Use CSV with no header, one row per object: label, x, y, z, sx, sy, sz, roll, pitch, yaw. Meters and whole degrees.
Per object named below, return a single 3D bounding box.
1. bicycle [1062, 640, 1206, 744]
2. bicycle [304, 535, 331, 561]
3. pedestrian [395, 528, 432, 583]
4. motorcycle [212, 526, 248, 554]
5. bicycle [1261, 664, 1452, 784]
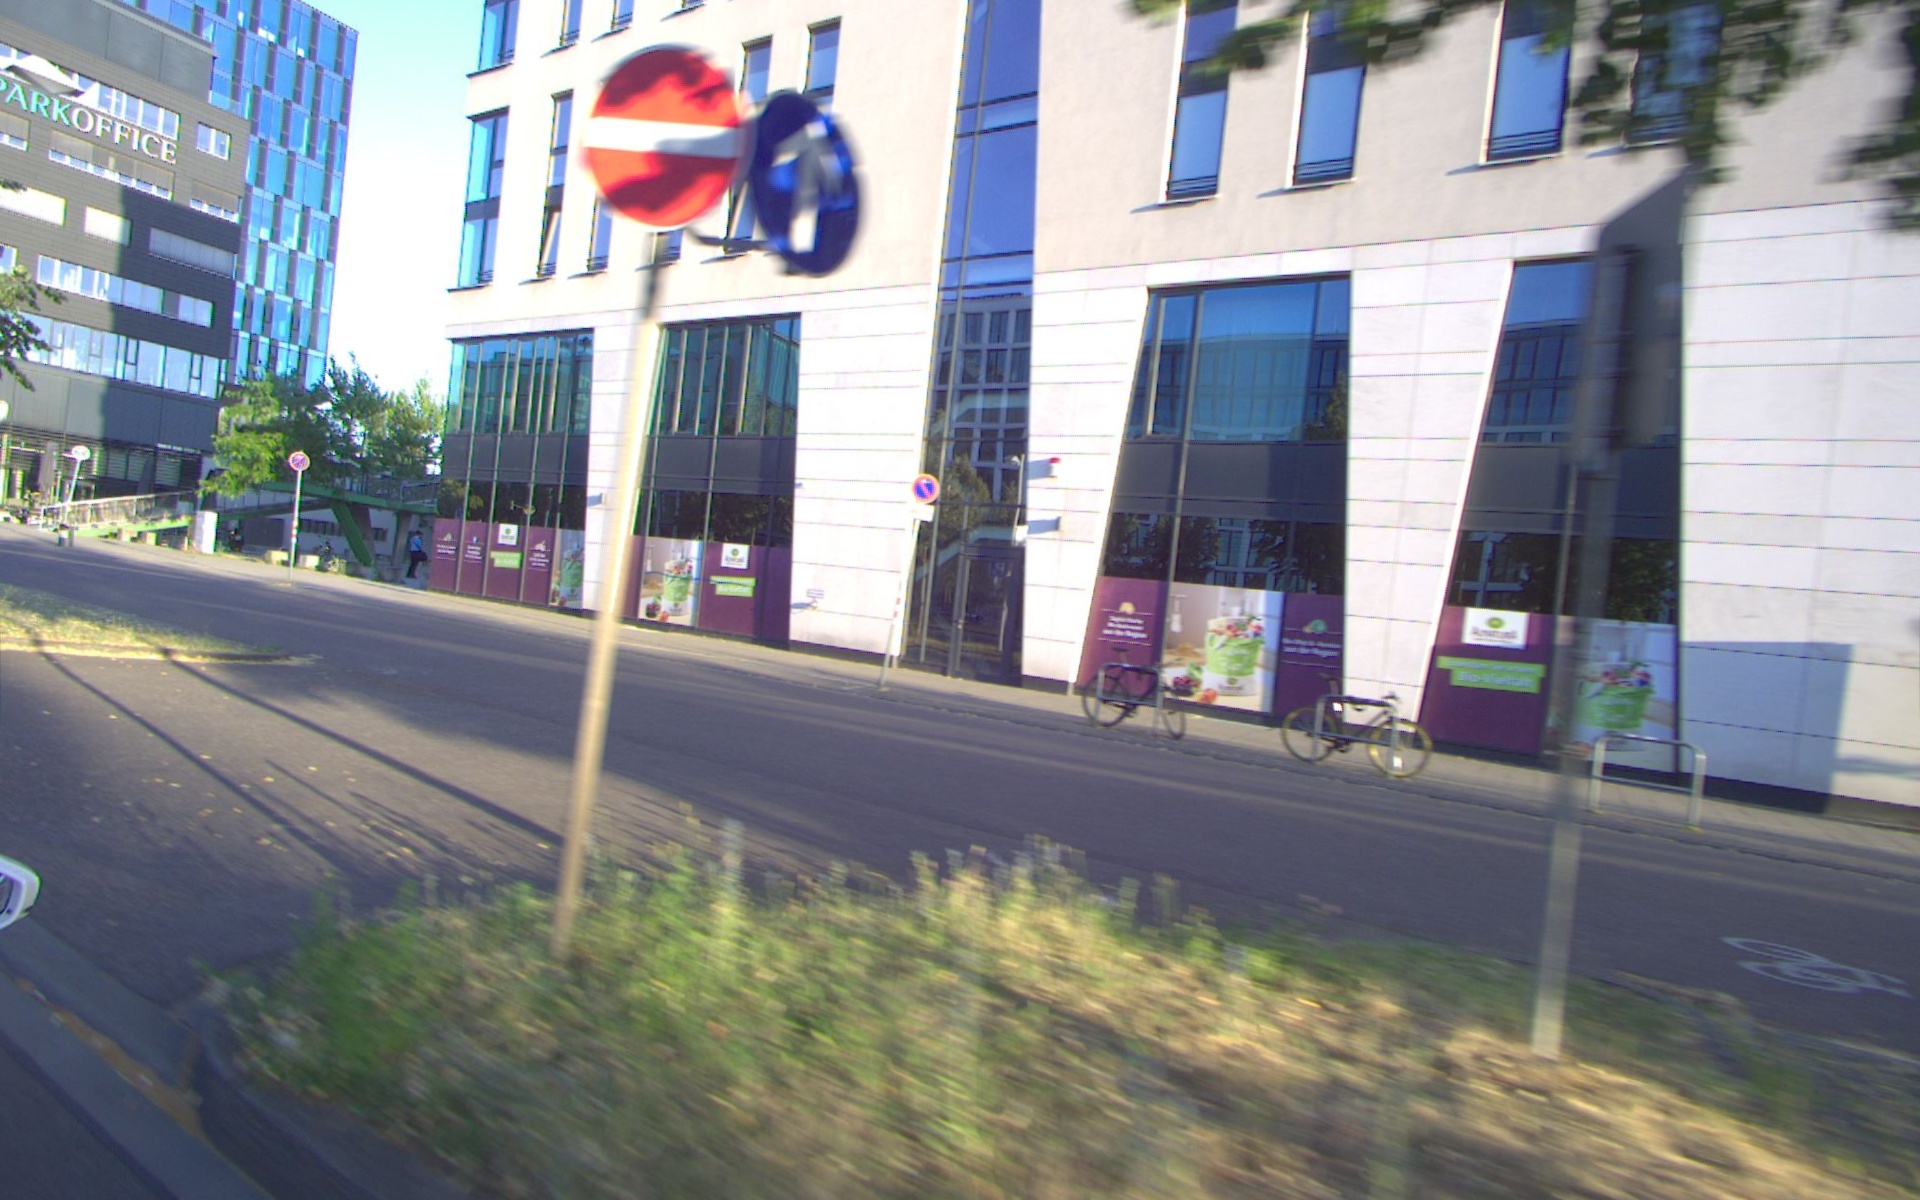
bicycle,2.236,1.162,13.088,1.746,1.087,0.446,6,3,36
bicycle,-31.122,-2.521,48.708,1.743,1.065,0.566,7,1,42
pedestrian,-21.784,-1.756,40.097,0.916,2.038,0.889,6,0,-15
motorcycle,-33.787,-2.787,46.544,2.297,1.107,0.650,7,1,37
bicycle,4.612,1.408,11.780,1.929,1.075,0.518,6,3,33
